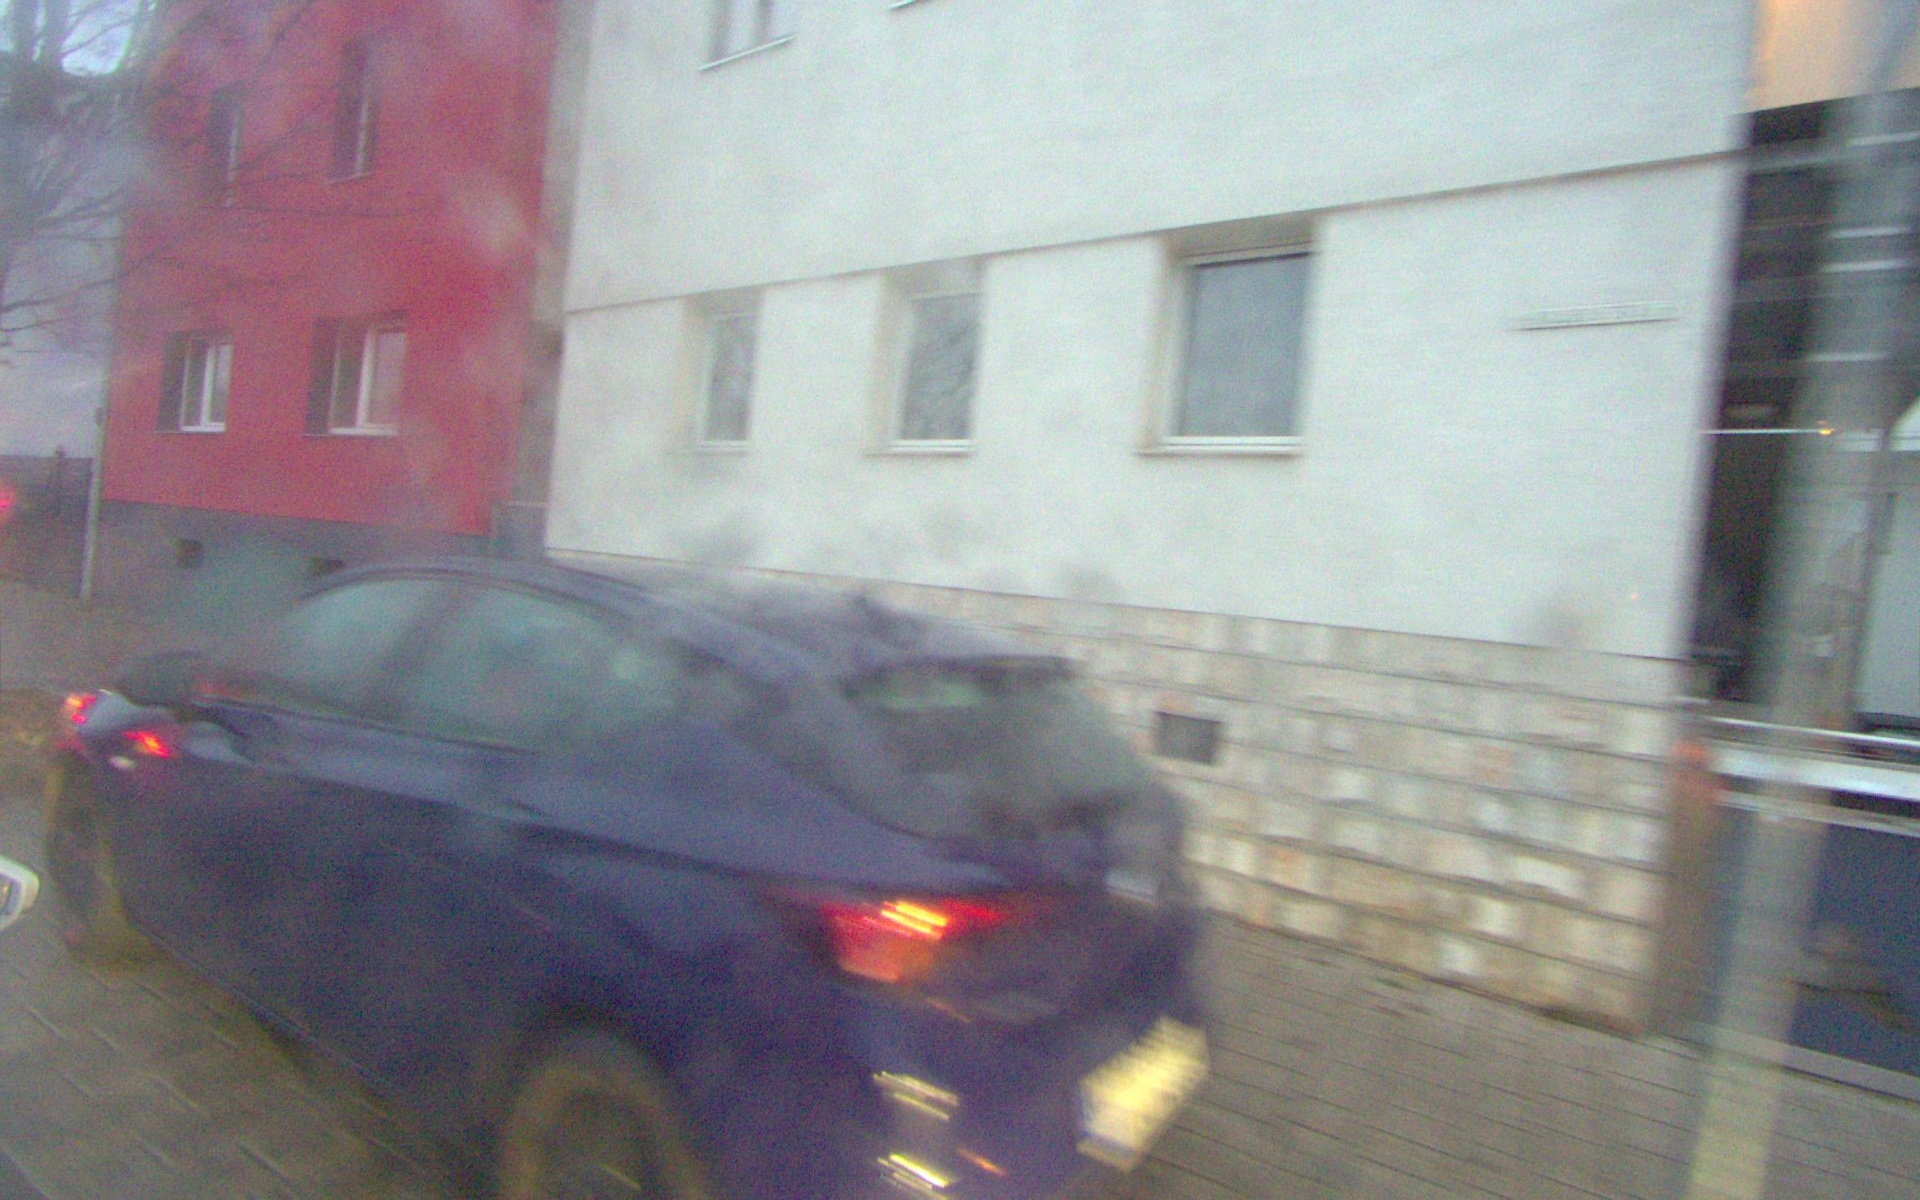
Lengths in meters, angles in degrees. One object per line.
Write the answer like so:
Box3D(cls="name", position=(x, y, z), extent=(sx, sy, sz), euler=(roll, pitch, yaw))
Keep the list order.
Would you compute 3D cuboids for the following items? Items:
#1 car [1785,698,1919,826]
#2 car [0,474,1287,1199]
Box3D(cls="car", position=(14.091, 2.424, 15.225), extent=(1.906, 1.434, 3.950), euler=(9, 2, 34))
Box3D(cls="car", position=(-1.342, 0.521, 3.245), extent=(4.131, 1.484, 1.727), euler=(7, 3, 34))
